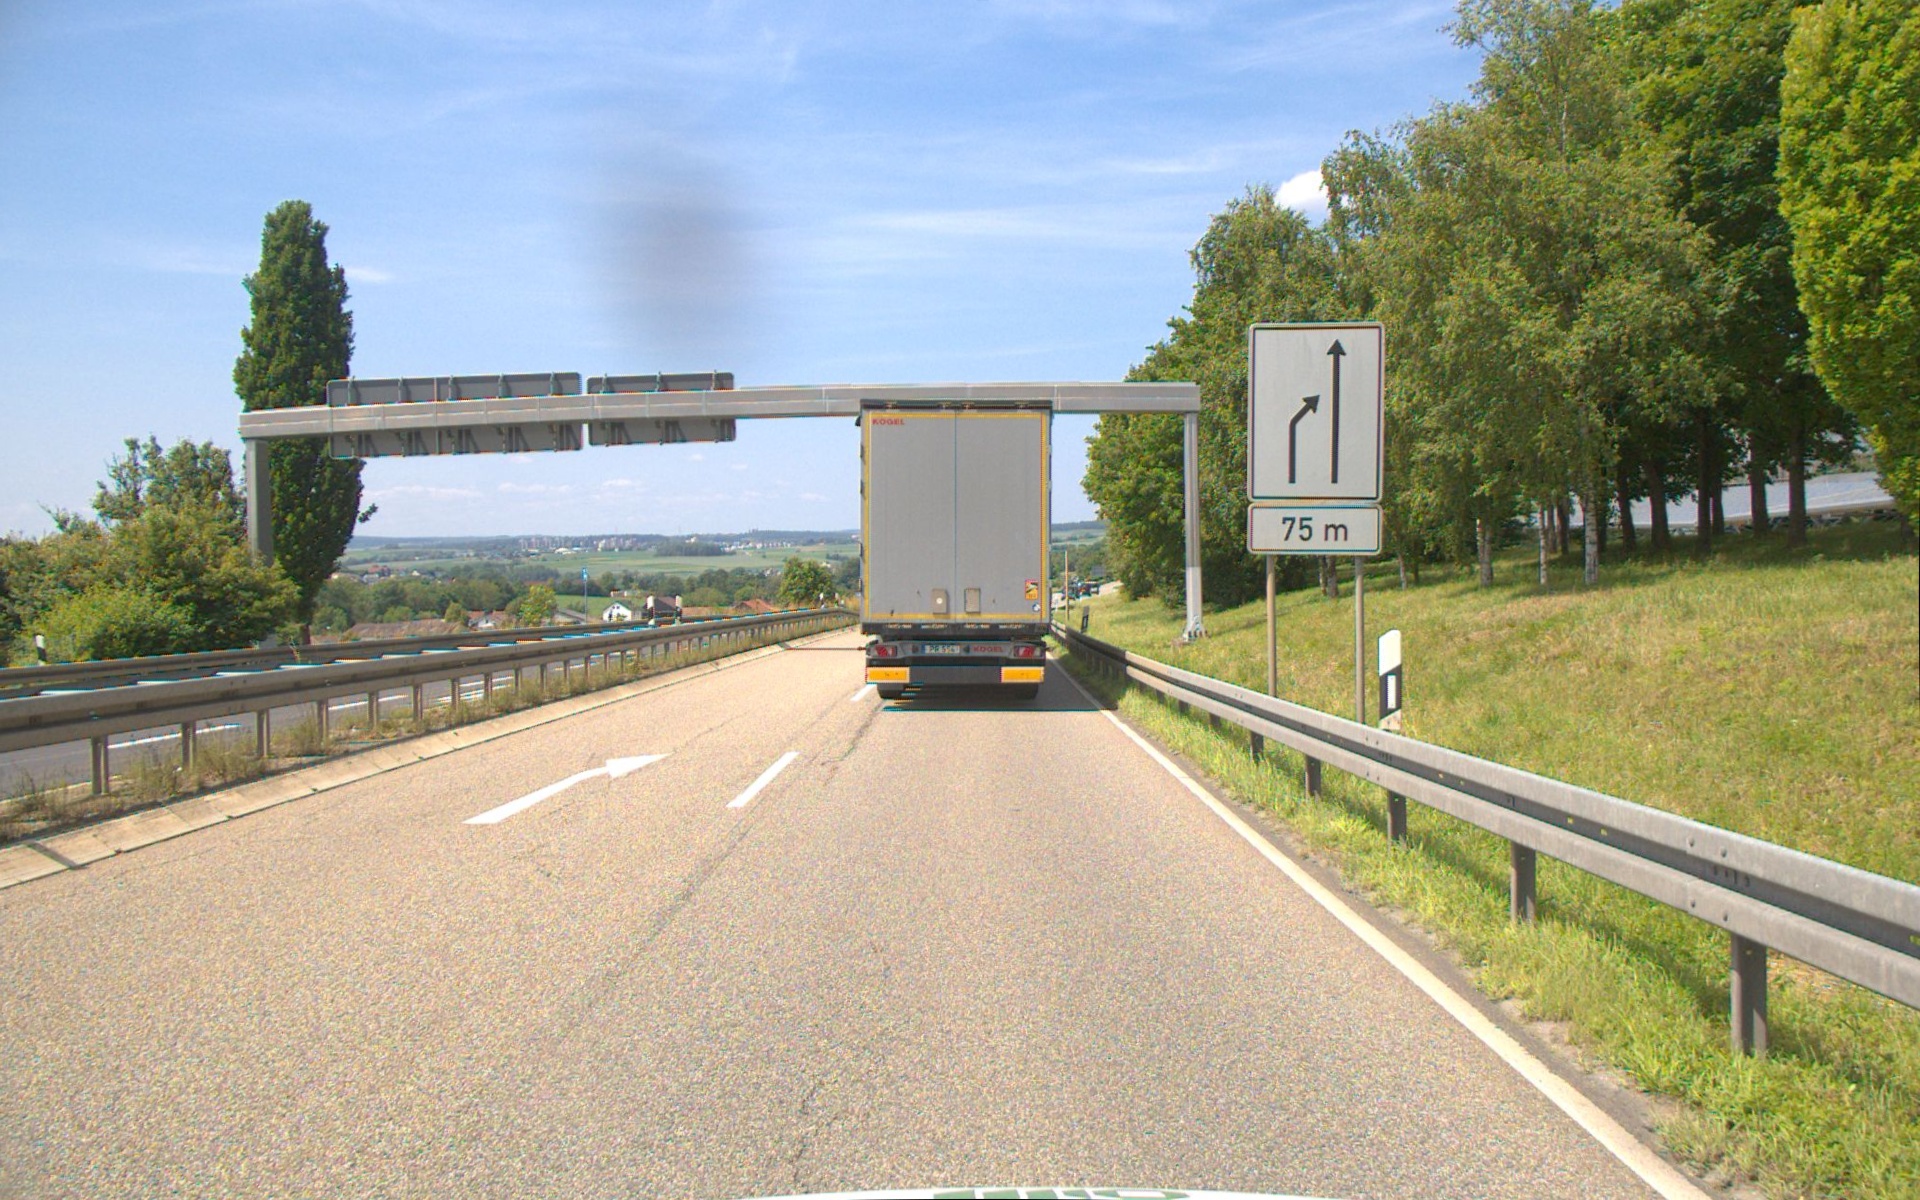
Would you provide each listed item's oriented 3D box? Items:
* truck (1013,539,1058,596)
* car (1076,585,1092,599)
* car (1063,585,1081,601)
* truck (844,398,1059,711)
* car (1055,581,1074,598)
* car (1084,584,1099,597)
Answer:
[{"bbox_3d":[5.470,-2.240,118.668,2.599,3.830,10.168,0,-1,6],"label":"truck"},{"bbox_3d":[15.944,-1.010,213.009,1.750,1.717,4.000,0,-1,0],"label":"car"},{"bbox_3d":[13.009,-0.789,192.357,1.750,1.717,4.000,0,-1,0],"label":"car"},{"bbox_3d":[-0.038,-0.621,26.862,2.741,3.998,11.342,0,0,1],"label":"truck"},{"bbox_3d":[11.025,-1.128,175.035,1.750,1.717,4.000,0,-1,0],"label":"car"},{"bbox_3d":[18.514,-1.325,232.716,1.750,1.717,4.000,0,-1,0],"label":"car"}]
